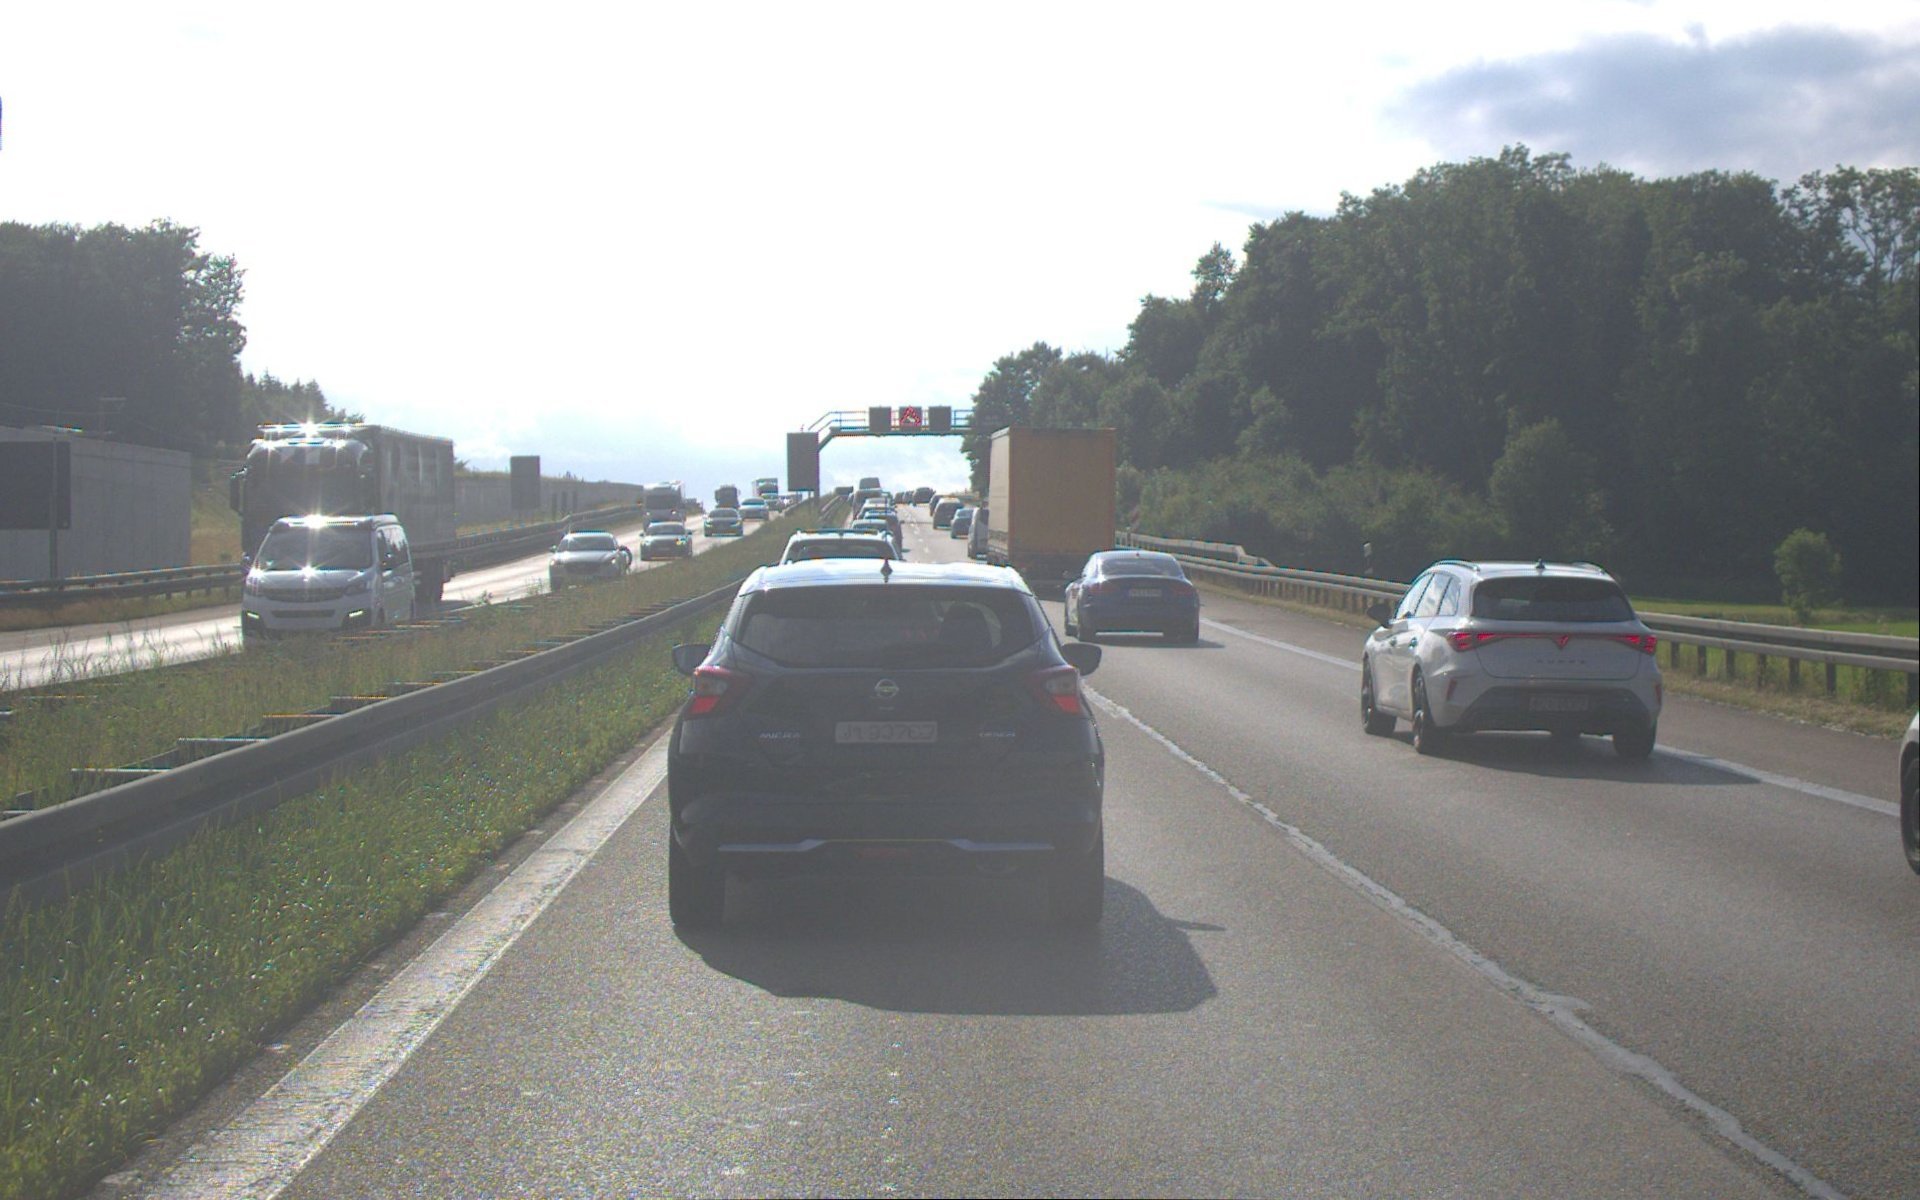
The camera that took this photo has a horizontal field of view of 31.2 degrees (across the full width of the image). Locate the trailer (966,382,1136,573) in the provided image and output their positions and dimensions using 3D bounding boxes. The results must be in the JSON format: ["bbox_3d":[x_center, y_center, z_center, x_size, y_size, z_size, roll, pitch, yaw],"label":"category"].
[{"bbox_3d":[2.158,-2.925,87.189,3.548,4.442,12.723,1,0,-2],"label":"trailer"}]

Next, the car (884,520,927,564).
[{"bbox_3d":[-2.254,-2.402,142.972,1.667,1.749,3.327,1,0,0],"label":"car"}]

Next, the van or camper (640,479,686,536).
[{"bbox_3d":[-16.728,-5.181,194.078,2.225,3.068,6.514,1,0,-2],"label":"van or camper"}]

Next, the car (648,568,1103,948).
[{"bbox_3d":[-0.311,0.590,14.730,1.710,1.421,3.378,1,0,0],"label":"car"}]

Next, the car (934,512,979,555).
[{"bbox_3d":[-0.169,-3.178,164.575,1.993,2.007,4.000,1,0,-2],"label":"car"}]

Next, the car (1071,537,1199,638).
[{"bbox_3d":[2.661,-0.195,53.051,1.747,1.470,4.147,1,0,0],"label":"car"}]

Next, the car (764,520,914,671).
[{"bbox_3d":[-1.415,-0.063,41.370,1.674,1.720,3.596,1,0,0],"label":"car"}]

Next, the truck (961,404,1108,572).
[{"bbox_3d":[1.970,-2.979,93.971,3.581,4.365,6.689,1,0,-2],"label":"truck"}]

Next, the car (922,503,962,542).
[{"bbox_3d":[-0.996,-4.153,185.415,1.993,2.007,4.000,1,0,-2],"label":"car"}]

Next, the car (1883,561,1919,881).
[{"bbox_3d":[5.313,0.602,14.921,1.548,1.490,3.378,1,1,-3],"label":"car"}]

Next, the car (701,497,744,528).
[{"bbox_3d":[-11.911,-4.386,172.745,1.993,1.428,4.449,1,0,-2],"label":"car"}]

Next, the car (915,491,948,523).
[{"bbox_3d":[-1.864,-6.039,224.162,1.993,2.007,4.000,1,0,-2],"label":"car"}]

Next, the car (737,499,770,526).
[{"bbox_3d":[-13.377,-5.671,223.234,1.993,1.587,4.449,1,0,-2],"label":"car"}]

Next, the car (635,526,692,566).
[{"bbox_3d":[-11.197,-2.036,130.146,1.902,1.459,4.184,1,0,-2],"label":"car"}]

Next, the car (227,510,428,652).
[{"bbox_3d":[-8.959,-0.273,49.069,1.993,1.877,4.787,-2,0,-1],"label":"car"}]

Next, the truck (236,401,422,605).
[{"bbox_3d":[-13.181,-1.969,72.319,2.754,4.076,6.953,0,0,-1],"label":"truck"}]

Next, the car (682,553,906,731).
[{"bbox_3d":[-1.318,0.313,28.489,1.674,1.362,3.596,1,0,0],"label":"car"}]

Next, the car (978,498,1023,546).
[{"bbox_3d":[1.533,-2.963,130.552,1.667,1.749,3.327,1,0,0],"label":"car"}]

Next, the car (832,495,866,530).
[{"bbox_3d":[-6.576,-5.164,203.557,1.993,2.007,4.000,1,0,-2],"label":"car"}]

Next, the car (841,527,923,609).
[{"bbox_3d":[-1.982,-0.801,86.764,1.993,2.007,4.000,1,0,-2],"label":"car"}]

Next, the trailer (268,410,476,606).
[{"bbox_3d":[-13.282,-1.982,78.775,2.759,4.101,12.905,0,0,-1],"label":"trailer"}]

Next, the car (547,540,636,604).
[{"bbox_3d":[-9.739,-0.730,91.132,1.888,1.626,5.111,1,0,-1],"label":"car"}]

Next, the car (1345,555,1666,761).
[{"bbox_3d":[4.102,0.401,26.469,1.620,1.441,4.147,1,0,-3],"label":"car"}]
